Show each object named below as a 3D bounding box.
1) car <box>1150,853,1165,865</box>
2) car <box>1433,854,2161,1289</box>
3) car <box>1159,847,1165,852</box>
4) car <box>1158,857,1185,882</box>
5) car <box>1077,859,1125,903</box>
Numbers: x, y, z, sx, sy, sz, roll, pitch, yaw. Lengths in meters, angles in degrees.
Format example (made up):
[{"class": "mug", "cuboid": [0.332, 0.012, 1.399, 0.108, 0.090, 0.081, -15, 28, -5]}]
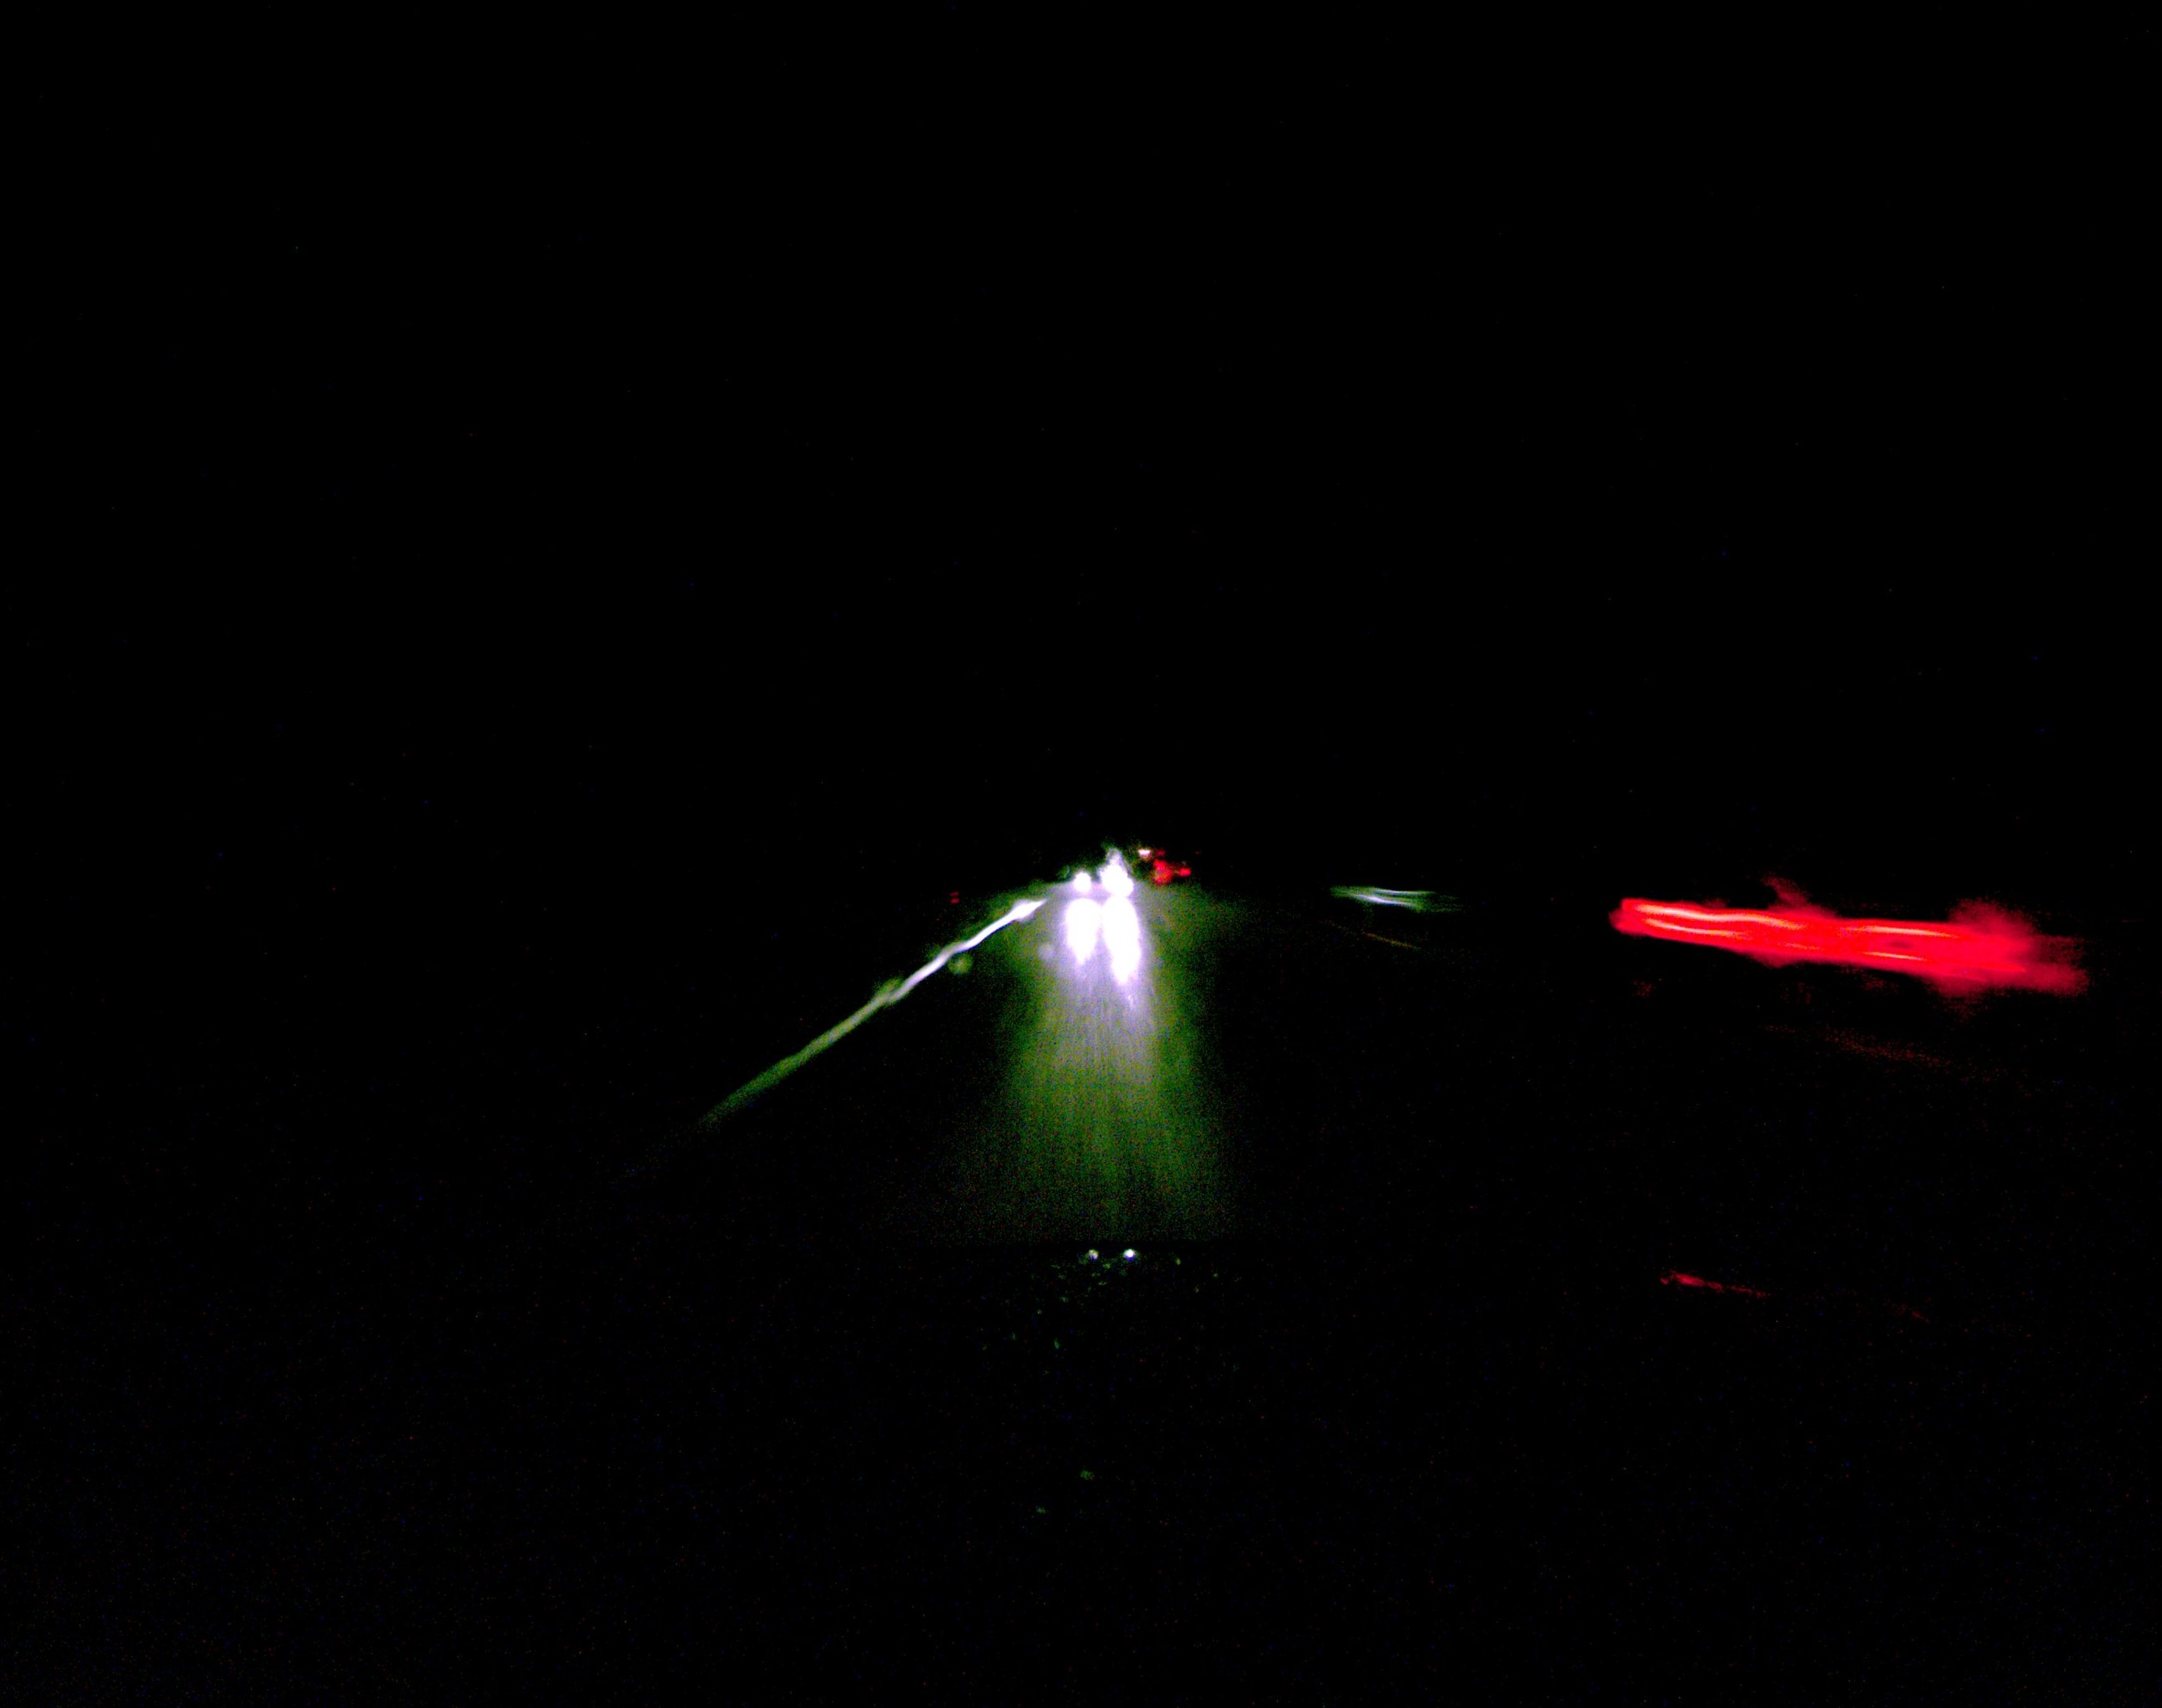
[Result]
[{"class": "car", "cuboid": [9.882, 0.676, 98.415, 1.855, 1.480, 3.995, -3, 0, 4]}, {"class": "car", "cuboid": [3.634, 0.785, 4.425, 1.567, 1.516, 3.486, 1, 0, 1]}, {"class": "car", "cuboid": [25.439, -1.371, 239.321, 1.744, 1.632, 3.600, -3, 1, 2]}, {"class": "car", "cuboid": [5.762, 0.982, 48.535, 1.598, 1.501, 3.602, 1, -1, 6]}, {"class": "car", "cuboid": [0.877, 1.064, 31.158, 1.744, 1.502, 3.600, -3, 1, 4]}]
